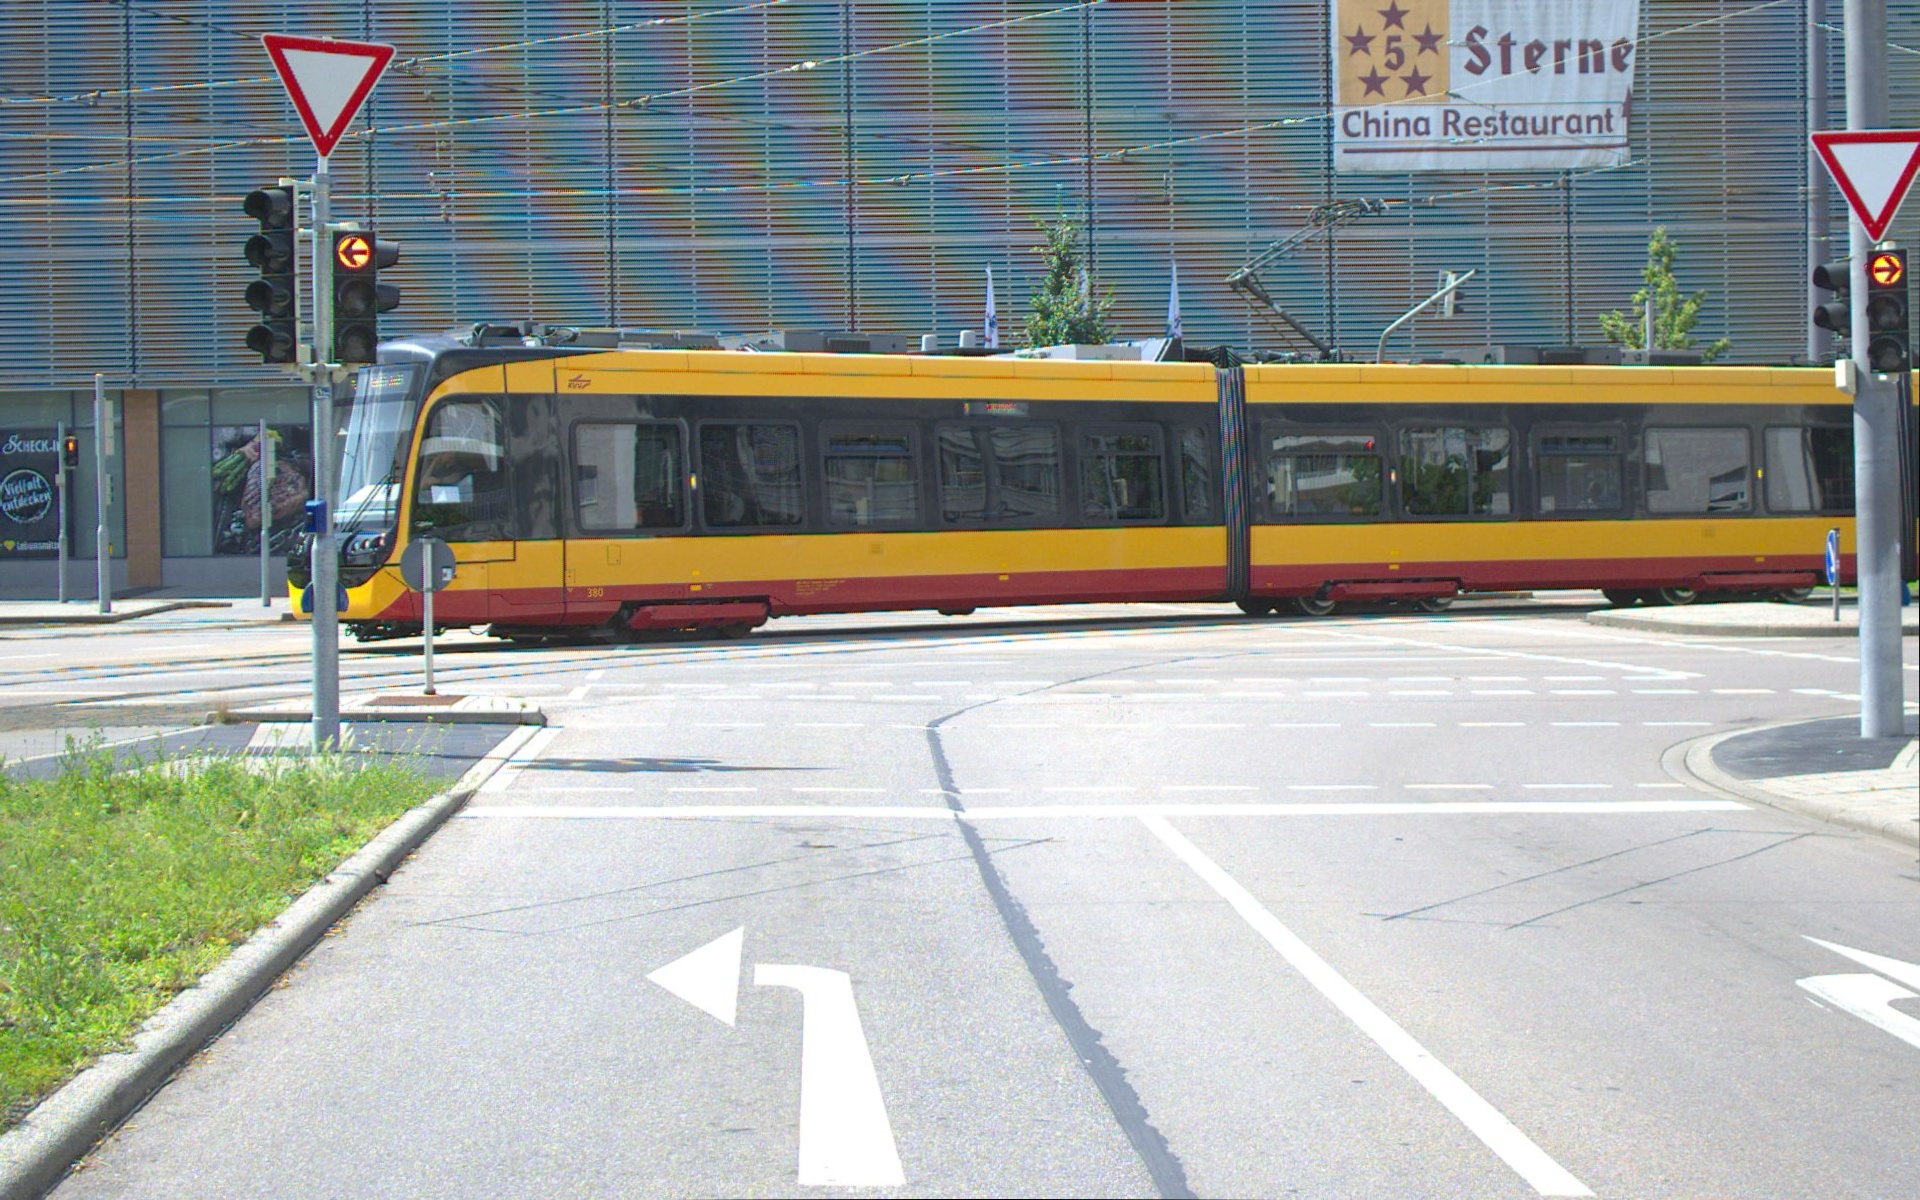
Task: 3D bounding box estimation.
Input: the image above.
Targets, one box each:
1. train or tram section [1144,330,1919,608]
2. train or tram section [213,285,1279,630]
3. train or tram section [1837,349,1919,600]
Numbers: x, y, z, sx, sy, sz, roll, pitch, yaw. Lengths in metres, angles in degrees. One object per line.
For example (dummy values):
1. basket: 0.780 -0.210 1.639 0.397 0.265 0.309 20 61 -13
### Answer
1. train or tram section: 8.180 -1.761 48.028 10.954 3.590 3.066 0 2 -23
2. train or tram section: -2.114 -1.615 41.381 13.461 3.587 3.226 -1 2 -40
3. train or tram section: 19.726 -1.831 51.767 12.590 3.608 3.066 0 2 -13
